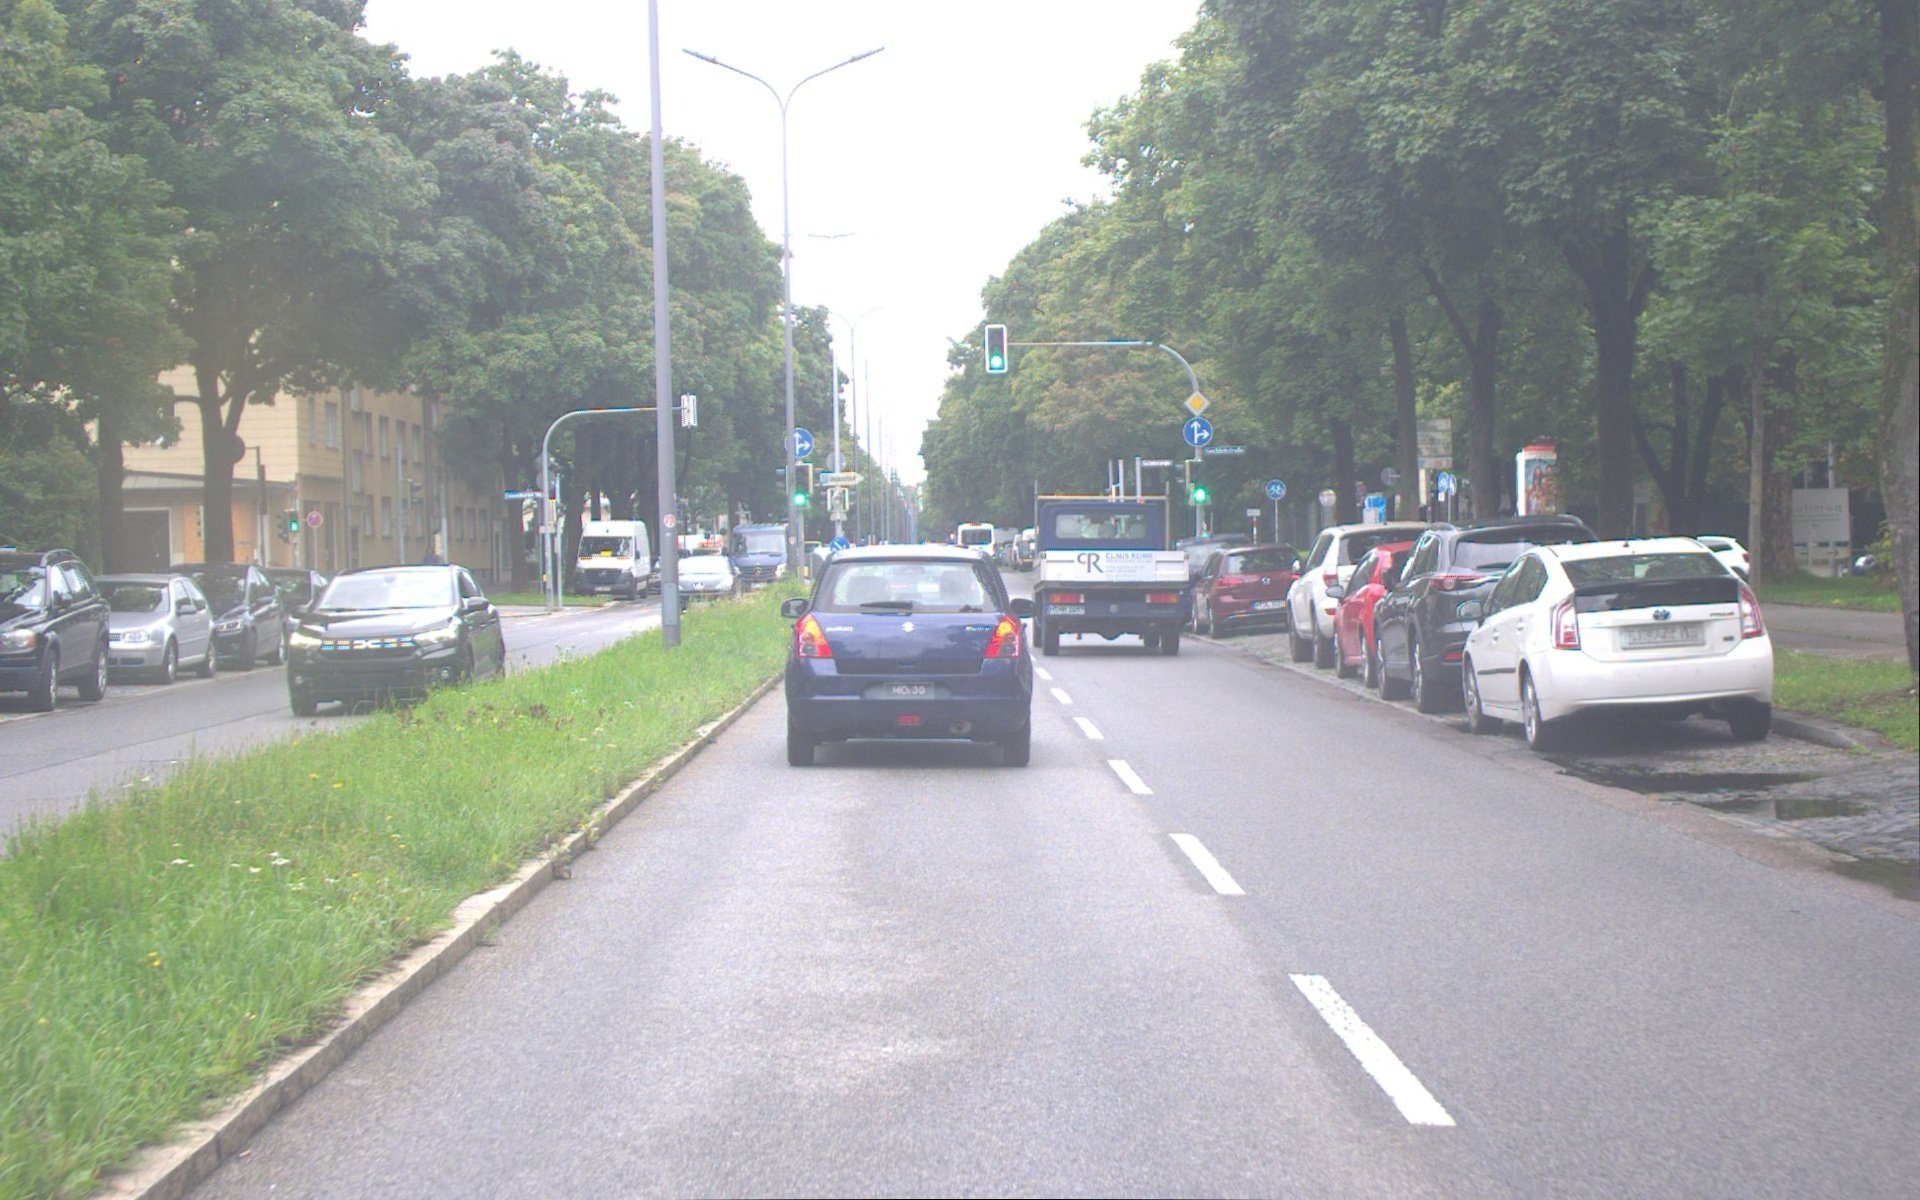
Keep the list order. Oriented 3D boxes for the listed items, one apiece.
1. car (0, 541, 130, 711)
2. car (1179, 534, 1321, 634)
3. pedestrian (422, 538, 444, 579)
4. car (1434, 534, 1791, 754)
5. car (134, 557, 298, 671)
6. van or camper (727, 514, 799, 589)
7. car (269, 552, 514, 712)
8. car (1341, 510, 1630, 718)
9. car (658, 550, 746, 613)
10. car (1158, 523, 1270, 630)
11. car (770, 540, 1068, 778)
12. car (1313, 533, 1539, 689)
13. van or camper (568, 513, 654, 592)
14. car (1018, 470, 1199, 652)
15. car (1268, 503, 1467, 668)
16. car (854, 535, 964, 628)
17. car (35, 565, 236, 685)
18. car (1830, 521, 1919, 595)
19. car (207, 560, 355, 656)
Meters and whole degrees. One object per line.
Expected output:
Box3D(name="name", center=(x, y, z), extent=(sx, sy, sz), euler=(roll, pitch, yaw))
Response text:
Box3D(name="car", center=(-10.873, 0.235, 39.448), extent=(1.796, 1.757, 5.059), euler=(2, 1, -4))
Box3D(name="car", center=(4.697, -0.297, 56.129), extent=(1.712, 1.419, 4.284), euler=(-5, 1, -2))
Box3D(name="pedestrian", center=(-18.545, -1.457, 120.974), extent=(0.629, 1.435, 0.806), euler=(1, 0, 0))
Box3D(name="car", center=(4.913, 0.266, 26.515), extent=(1.760, 1.448, 4.633), euler=(-3, 1, -1))
Box3D(name="car", center=(-11.041, 0.178, 51.266), extent=(1.666, 1.557, 4.300), euler=(-2, 1, -3))
Box3D(name="van or camper", center=(-6.265, -1.555, 109.658), extent=(2.023, 2.253, 6.022), euler=(-2, 1, -1))
Box3D(name="car", center=(-5.667, 0.277, 34.725), extent=(1.739, 1.435, 4.215), euler=(-2, 1, 0))
Box3D(name="car", center=(4.793, 0.071, 32.076), extent=(1.760, 1.692, 5.230), euler=(-3, 1, -1))
Box3D(name="car", center=(-6.327, -0.479, 84.624), extent=(1.737, 1.437, 4.103), euler=(-2, 1, 1))
Box3D(name="car", center=(4.476, -0.443, 60.901), extent=(1.763, 1.652, 4.283), euler=(-5, 1, 4))
Box3D(name="car", center=(-0.367, 0.358, 24.580), extent=(1.896, 1.494, 3.661), euler=(-2, 1, -3))
Box3D(name="car", center=(4.963, 0.070, 37.135), extent=(1.760, 1.501, 4.144), euler=(-3, 1, -1))
Box3D(name="van or camper", center=(-11.548, -1.603, 114.149), extent=(2.140, 2.467, 6.259), euler=(-2, 1, 0))
Box3D(name="car", center=(2.026, -0.570, 48.420), extent=(2.419, 2.435, 5.086), euler=(0, 1, 1))
Box3D(name="car", center=(4.936, -0.209, 42.182), extent=(1.760, 1.824, 4.528), euler=(-3, 1, -1))
Box3D(name="car", center=(-0.855, -0.344, 59.268), extent=(1.799, 1.494, 3.660), euler=(-2, 1, 0))
Box3D(name="car", center=(-11.023, 0.299, 46.238), extent=(1.666, 1.440, 4.375), euler=(2, 1, -1))
Box3D(name="car", center=(23.782, -1.137, 85.375), extent=(3.881, 1.605, 1.932), euler=(-5, 1, 7))
Box3D(name="car", center=(-11.180, 0.103, 56.820), extent=(1.564, 1.445, 3.838), euler=(2, 1, 1))
